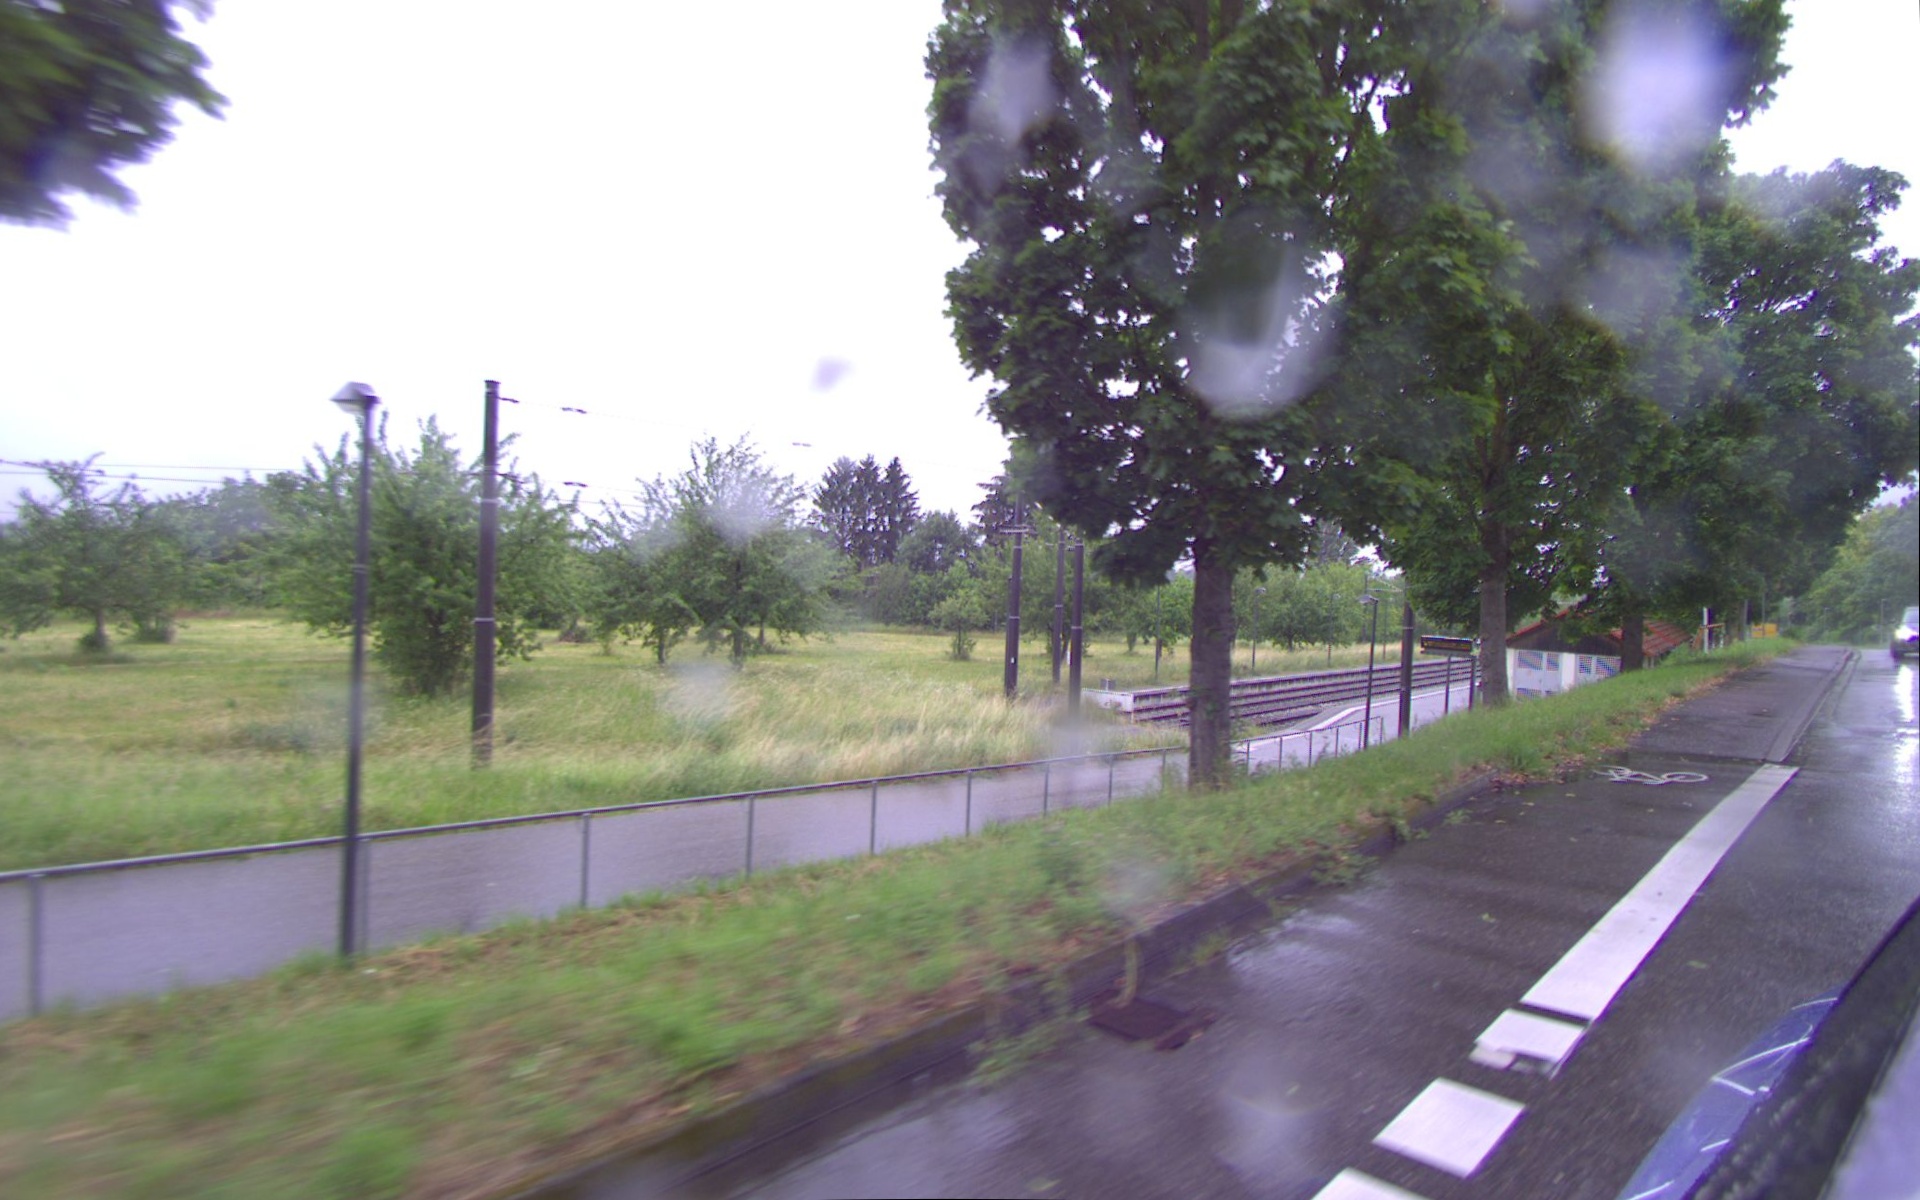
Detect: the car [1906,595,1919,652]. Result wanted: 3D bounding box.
[{"bbox_3d":[27.442,0.722,27.935,1.759,1.504,3.733,3,0,41],"label":"car"}]
